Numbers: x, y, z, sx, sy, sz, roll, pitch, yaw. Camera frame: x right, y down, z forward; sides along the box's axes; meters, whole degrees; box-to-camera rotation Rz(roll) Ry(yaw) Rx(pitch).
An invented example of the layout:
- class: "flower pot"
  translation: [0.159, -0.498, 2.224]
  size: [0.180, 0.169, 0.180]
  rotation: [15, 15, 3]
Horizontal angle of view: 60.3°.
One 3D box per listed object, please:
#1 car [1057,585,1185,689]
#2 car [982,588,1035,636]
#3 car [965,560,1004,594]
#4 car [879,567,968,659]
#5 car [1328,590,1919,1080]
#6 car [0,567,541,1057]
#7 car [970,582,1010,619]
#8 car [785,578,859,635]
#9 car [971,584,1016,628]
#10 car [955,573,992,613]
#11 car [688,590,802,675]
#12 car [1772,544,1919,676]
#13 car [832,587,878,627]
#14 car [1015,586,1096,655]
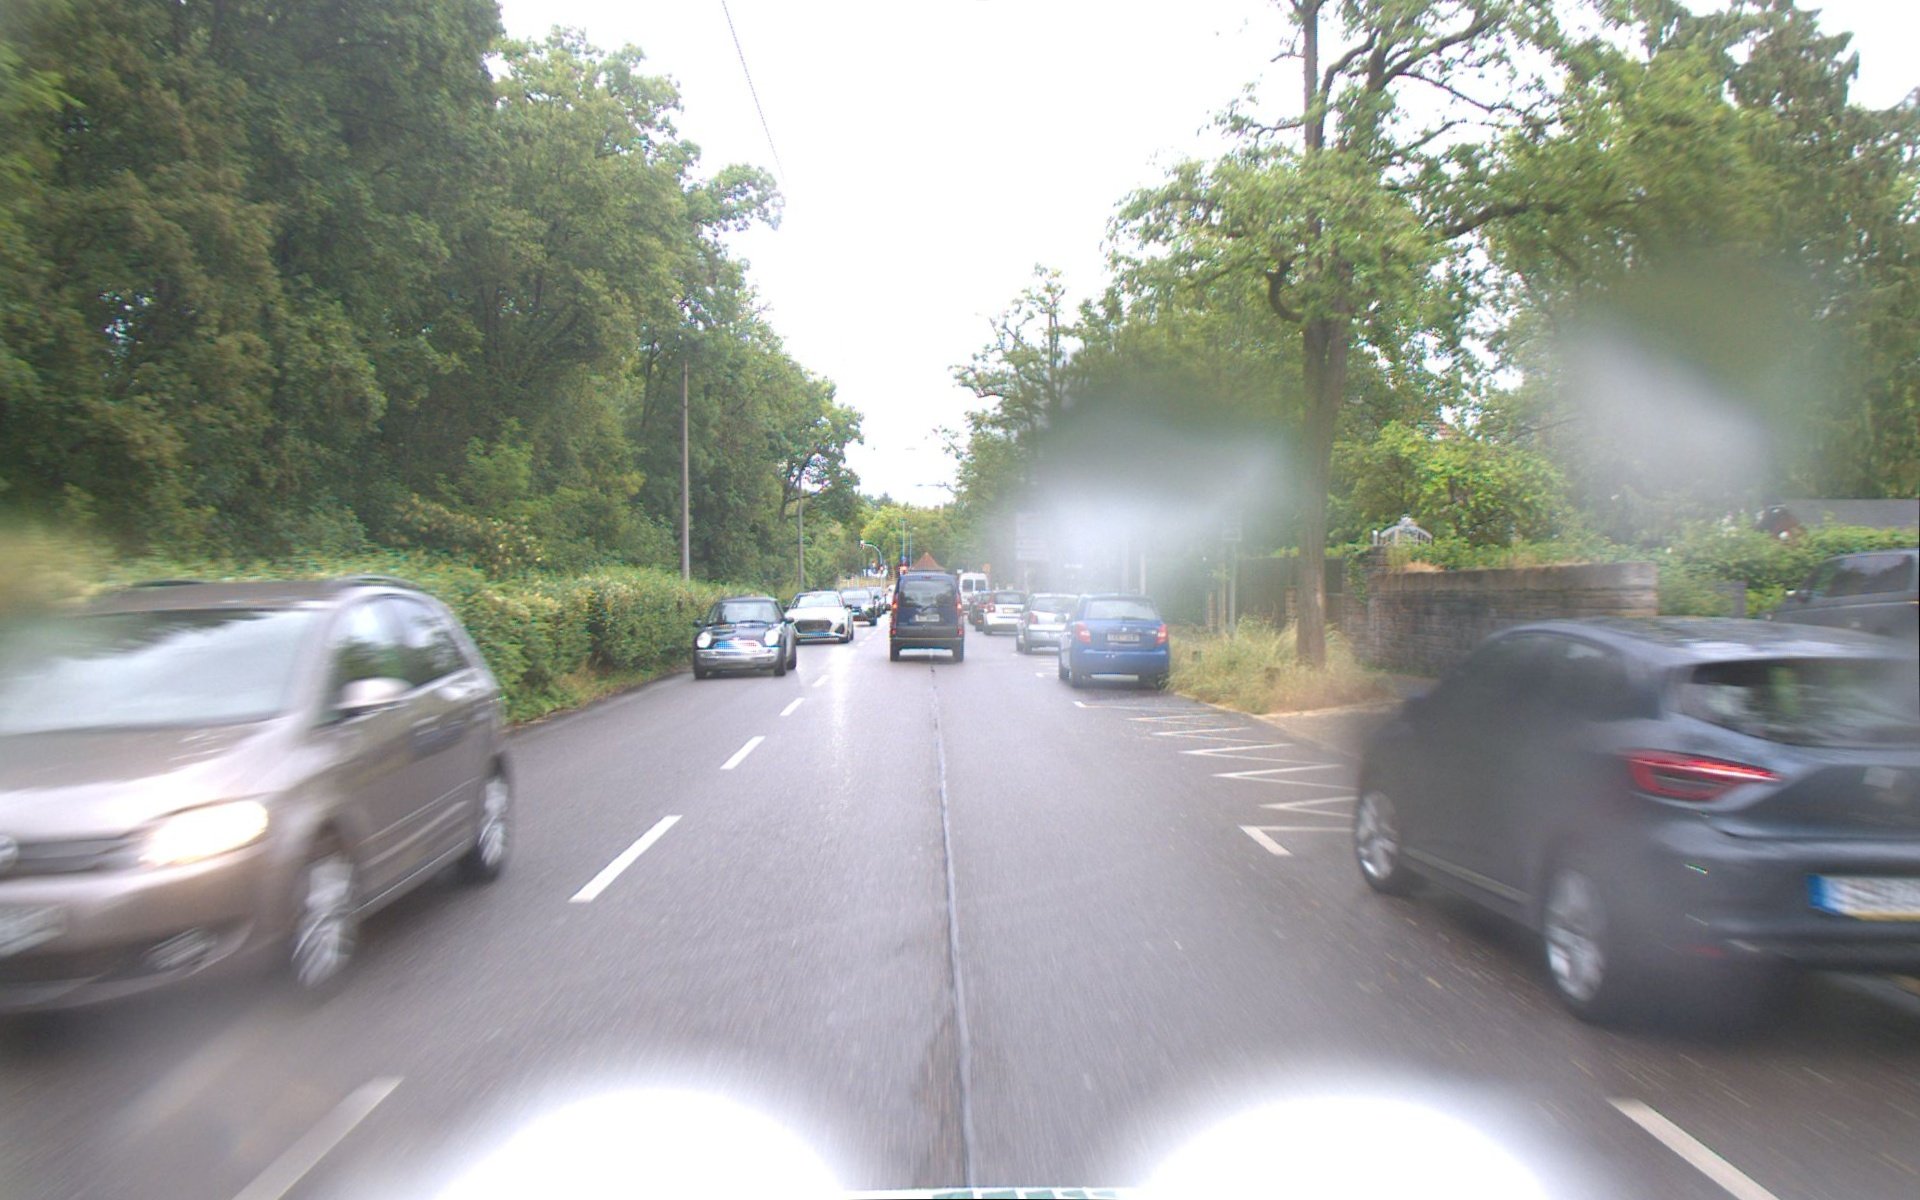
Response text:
- class: "car"
  translation: [2.628, 0.557, 27.802]
  size: [1.686, 1.532, 4.050]
  rotation: [1, 1, -1]
- class: "car"
  translation: [1.642, 0.390, 57.220]
  size: [1.600, 1.536, 2.956]
  rotation: [1, 1, -3]
- class: "car"
  translation: [1.176, -1.096, 79.708]
  size: [1.664, 1.551, 3.866]
  rotation: [1, 1, -2]
- class: "car"
  translation: [-0.851, 0.235, 36.117]
  size: [1.732, 1.862, 3.539]
  rotation: [1, 1, -4]
- class: "car"
  translation: [3.043, 0.760, 7.324]
  size: [1.706, 1.505, 3.961]
  rotation: [1, 1, -4]
- class: "car"
  translation: [-3.150, 0.638, 7.190]
  size: [1.695, 1.518, 3.999]
  rotation: [-1, 1, -2]
- class: "car"
  translation: [1.316, -0.004, 74.501]
  size: [1.663, 1.551, 4.210]
  rotation: [1, 1, -1]
- class: "car"
  translation: [-3.993, 0.148, 48.471]
  size: [1.818, 1.494, 4.446]
  rotation: [-2, 1, -1]
- class: "car"
  translation: [1.281, 0.207, 63.217]
  size: [1.663, 1.551, 3.868]
  rotation: [1, 1, 1]
- class: "car"
  translation: [0.839, -0.428, 104.838]
  size: [2.160, 2.492, 4.728]
  rotation: [0, 0, -1]
- class: "car"
  translation: [-3.921, 0.557, 30.687]
  size: [1.652, 1.379, 3.723]
  rotation: [-2, 1, -1]
- class: "car"
  translation: [14.320, 0.126, 25.195]
  size: [1.792, 1.842, 4.255]
  rotation: [0, 0, -1]
- class: "car"
  translation: [-4.505, 0.266, 71.437]
  size: [1.767, 1.574, 4.431]
  rotation: [-2, 1, -1]
- class: "car"
  translation: [2.308, 0.467, 40.776]
  size: [1.586, 1.534, 3.833]
  rotation: [1, 1, -3]
